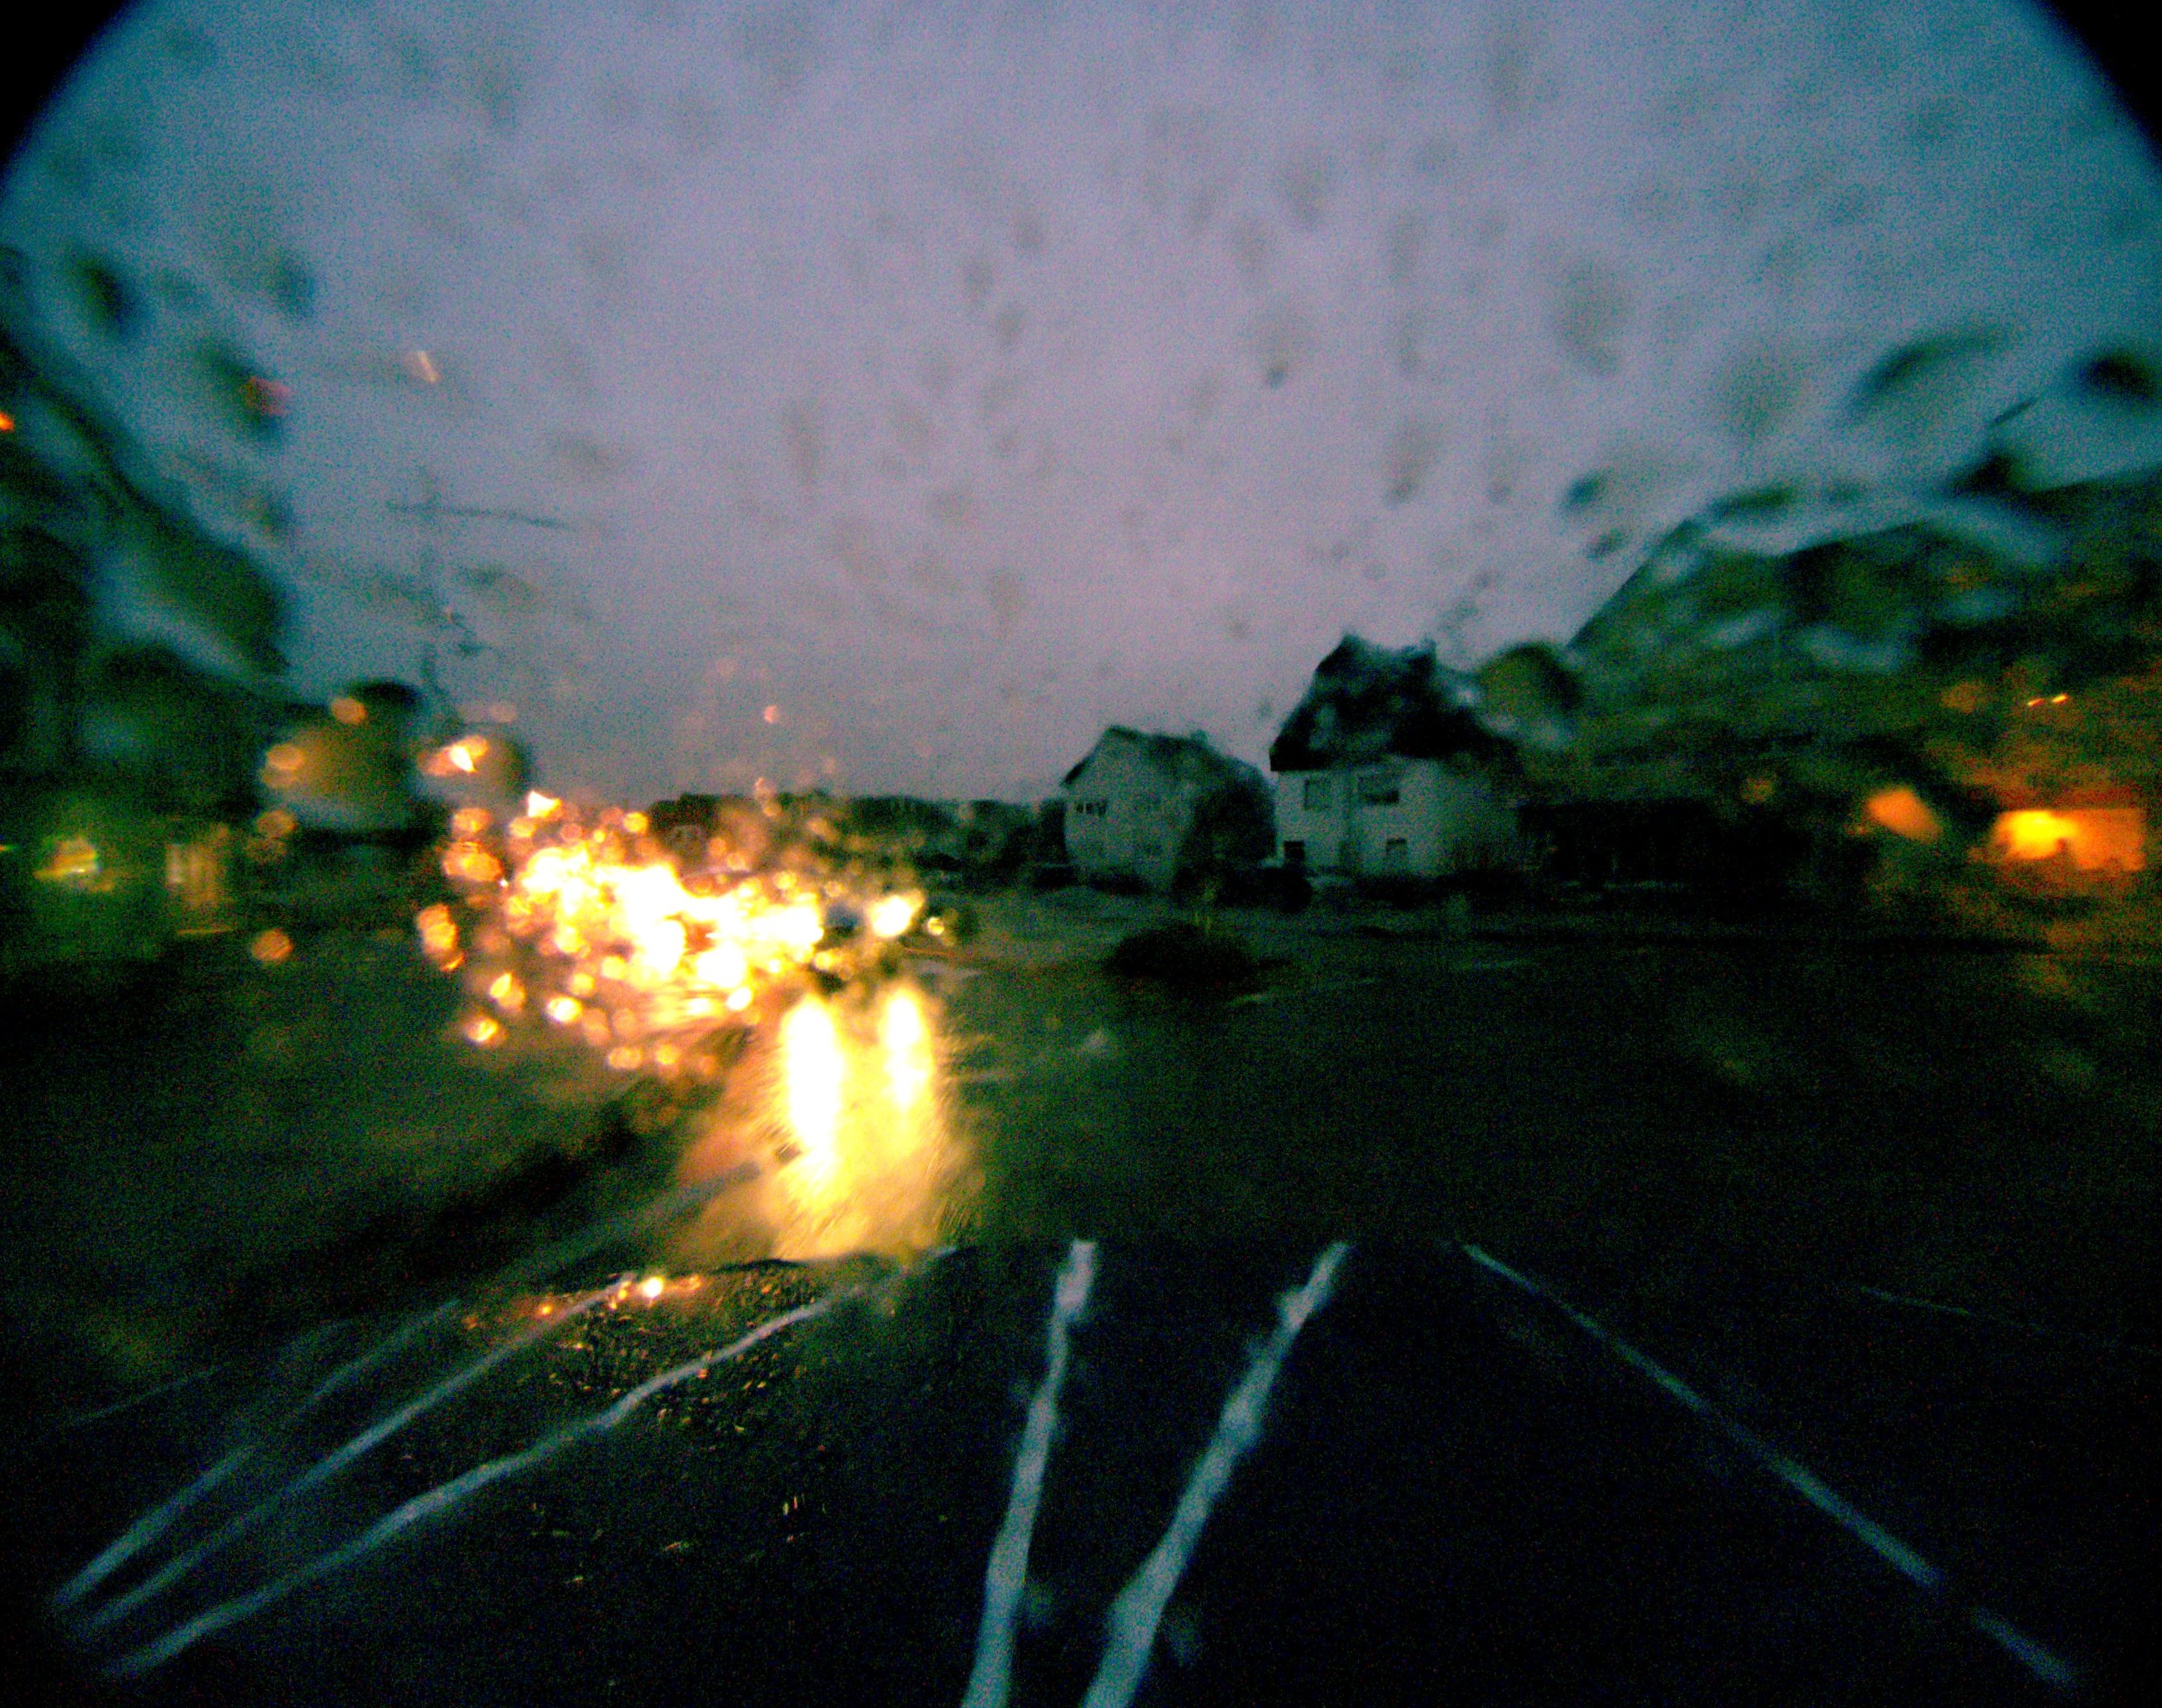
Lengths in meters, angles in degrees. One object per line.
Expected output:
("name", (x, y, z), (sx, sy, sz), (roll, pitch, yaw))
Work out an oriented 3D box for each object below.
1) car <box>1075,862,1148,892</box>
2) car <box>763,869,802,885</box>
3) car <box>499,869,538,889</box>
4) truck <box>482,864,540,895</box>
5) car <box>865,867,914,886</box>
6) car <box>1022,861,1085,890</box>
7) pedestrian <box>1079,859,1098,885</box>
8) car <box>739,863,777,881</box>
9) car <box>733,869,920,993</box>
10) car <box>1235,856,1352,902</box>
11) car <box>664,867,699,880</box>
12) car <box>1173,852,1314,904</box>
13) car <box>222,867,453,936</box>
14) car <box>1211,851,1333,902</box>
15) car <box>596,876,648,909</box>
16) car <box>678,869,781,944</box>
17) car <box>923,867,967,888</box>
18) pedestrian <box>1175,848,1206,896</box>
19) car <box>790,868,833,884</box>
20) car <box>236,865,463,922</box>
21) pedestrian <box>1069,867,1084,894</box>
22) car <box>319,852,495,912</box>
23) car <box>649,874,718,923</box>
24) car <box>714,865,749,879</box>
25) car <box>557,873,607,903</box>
("car", (1.725, 1.285, 43.800), (1.783, 1.560, 4.082), (-2, 1, -42))
("car", (-29.184, 2.227, 74.273), (4.245, 1.460, 1.804), (-1, 0, 41))
("car", (-58.024, 2.573, 78.426), (3.989, 2.002, 2.004), (-1, 1, 35))
("truck", (-44.613, 1.951, 59.409), (6.087, 2.217, 2.253), (-1, 1, 40))
("car", (-15.751, 1.858, 62.465), (4.245, 1.460, 1.804), (-1, 0, 41))
("car", (-1.765, 1.332, 47.672), (3.948, 1.650, 1.707), (-1, 1, 45))
("pedestrian", (0.368, 0.905, 38.421), (0.694, 1.242, 0.601), (-2, 0, -40))
("car", (-33.013, 1.850, 77.530), (4.245, 1.816, 1.804), (-1, 0, 40))
("car", (-4.284, 1.077, 12.380), (1.892, 1.570, 3.990), (-3, 1, -33))
("car", (7.962, 0.939, 28.434), (3.990, 1.621, 1.768), (-1, -2, 24))
("car", (-46.574, 2.267, 88.518), (4.603, 1.460, 1.804), (-1, 0, 37))
("car", (5.125, 0.747, 23.923), (4.172, 1.522, 1.916), (-1, 1, 16))
("car", (-18.636, 1.148, 19.233), (1.808, 1.494, 4.010), (1, -1, 44))
("car", (6.579, 0.796, 26.086), (3.888, 1.660, 1.844), (-1, -2, 19))
("car", (-22.741, 1.859, 37.552), (1.745, 1.434, 3.989), (-3, 1, -37))
("car", (-8.837, 1.223, 18.915), (1.685, 1.614, 3.991), (-1, -1, -34))
("car", (-10.157, 1.745, 56.684), (3.493, 1.500, 1.482), (-1, 0, 44))
("pedestrian", (3.972, 0.662, 27.558), (0.839, 1.701, 0.726), (-1, -1, 33))
("car", (-25.119, 2.044, 70.760), (4.245, 1.460, 1.804), (-1, 0, 41))
("car", (-20.732, 1.094, 21.852), (4.533, 1.483, 1.970), (1, -2, -41))
("pedestrian", (-0.230, 1.302, 37.388), (0.601, 1.294, 0.512), (-2, 0, 17))
("car", (-24.292, 1.079, 27.632), (4.565, 1.921, 1.970), (5, -4, -40))
("car", (-13.628, 1.448, 25.961), (1.575, 1.460, 3.607), (-3, 1, -35))
("car", (-37.302, 1.924, 81.090), (4.006, 1.459, 1.680), (-2, -2, 37))
("car", (-29.407, 1.962, 44.740), (1.838, 1.535, 3.704), (-3, 1, -42))
